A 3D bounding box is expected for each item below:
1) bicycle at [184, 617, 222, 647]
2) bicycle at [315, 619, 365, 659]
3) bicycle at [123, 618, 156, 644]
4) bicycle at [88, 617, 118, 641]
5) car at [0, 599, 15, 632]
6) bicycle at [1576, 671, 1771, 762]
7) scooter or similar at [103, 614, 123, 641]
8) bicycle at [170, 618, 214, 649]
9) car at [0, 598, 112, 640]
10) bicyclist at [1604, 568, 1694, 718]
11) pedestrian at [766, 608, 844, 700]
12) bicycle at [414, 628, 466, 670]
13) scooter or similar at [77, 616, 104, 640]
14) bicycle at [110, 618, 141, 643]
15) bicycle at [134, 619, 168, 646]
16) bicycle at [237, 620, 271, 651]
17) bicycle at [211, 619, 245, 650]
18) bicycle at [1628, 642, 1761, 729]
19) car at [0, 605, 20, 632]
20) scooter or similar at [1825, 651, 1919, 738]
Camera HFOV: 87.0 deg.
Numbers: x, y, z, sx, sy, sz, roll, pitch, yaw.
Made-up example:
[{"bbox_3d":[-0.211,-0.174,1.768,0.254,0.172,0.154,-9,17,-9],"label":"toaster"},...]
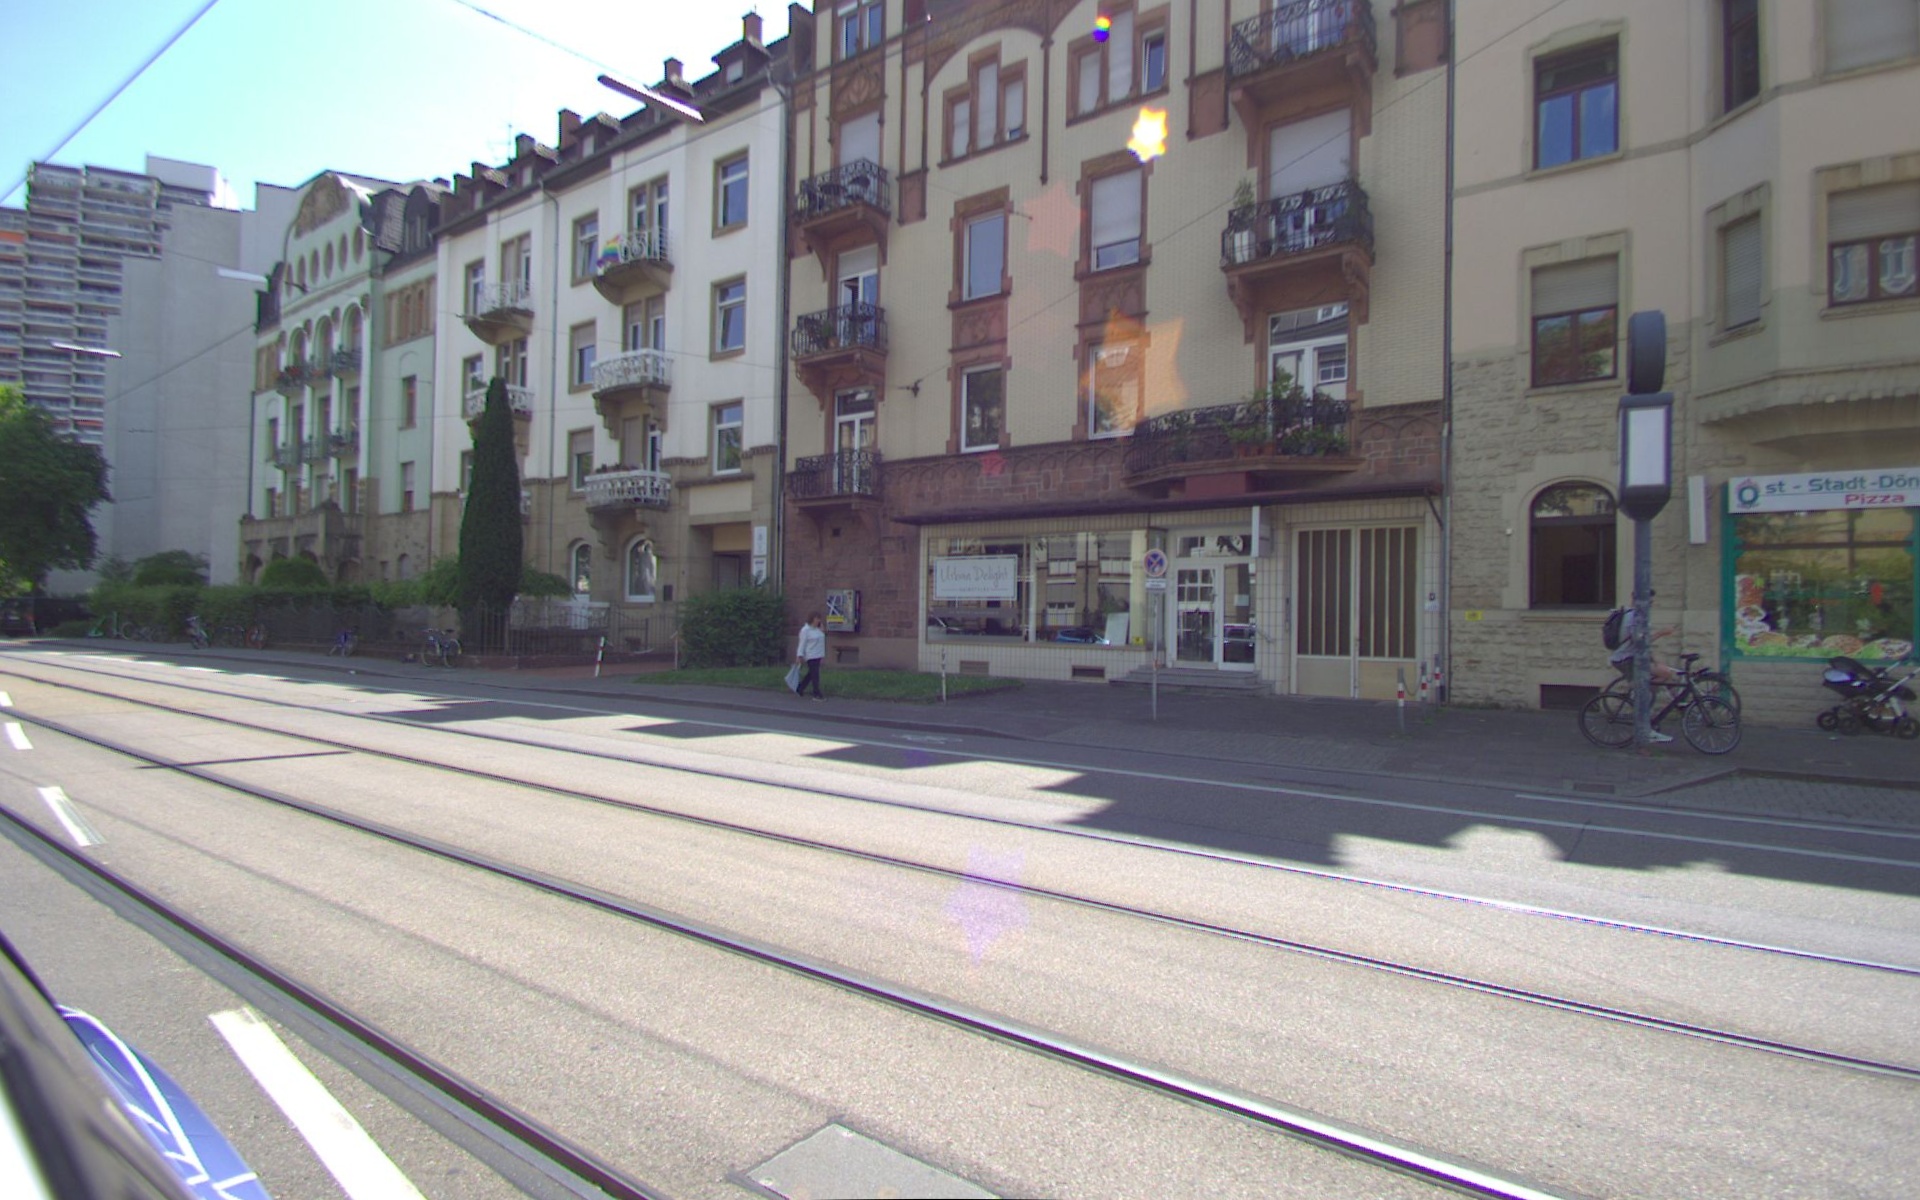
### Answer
[{"bbox_3d":[-27.237,1.143,36.400,1.768,1.040,0.602,-1,2,37],"label":"bicycle"},{"bbox_3d":[-17.846,1.107,29.119,1.768,1.073,0.602,-1,2,37],"label":"bicycle"},{"bbox_3d":[-33.210,1.261,40.959,1.705,0.996,0.602,-1,2,37],"label":"bicycle"},{"bbox_3d":[-37.465,1.262,44.249,1.705,0.996,0.602,-1,2,37],"label":"bicycle"},{"bbox_3d":[-60.522,0.940,62.015,1.578,2.058,4.055,1,-2,-3],"label":"car"},{"bbox_3d":[8.282,1.322,11.816,1.817,0.823,0.746,0,4,36],"label":"bicycle"},{"bbox_3d":[-36.110,1.154,43.120,1.289,1.128,0.402,0,-2,39],"label":"scooter or similar"},{"bbox_3d":[-26.100,1.134,34.413,0.599,1.007,1.780,1,-2,-17],"label":"bicycle"},{"bbox_3d":[-44.879,0.960,50.077,1.935,1.940,4.586,1,-2,0],"label":"car"},{"bbox_3d":[8.071,0.467,11.847,0.829,1.675,0.749,1,2,37],"label":"bicyclist"},{"bbox_3d":[-2.705,0.922,17.716,0.982,1.554,0.893,0,-2,34],"label":"pedestrian"},{"bbox_3d":[-13.128,1.224,25.525,1.838,0.968,0.406,1,2,38],"label":"bicycle"},{"bbox_3d":[-38.823,1.246,45.183,1.215,1.028,0.404,0,-2,22],"label":"scooter or similar"},{"bbox_3d":[-34.765,1.245,42.169,1.705,0.996,0.602,-1,2,37],"label":"bicycle"},{"bbox_3d":[-31.770,1.262,39.730,1.768,0.983,0.602,-1,2,37],"label":"bicycle"},{"bbox_3d":[-23.243,1.155,33.309,1.723,0.973,0.409,0,1,38],"label":"bicycle"},{"bbox_3d":[-24.803,1.167,34.296,1.705,1.007,0.460,0,1,38],"label":"bicycle"},{"bbox_3d":[10.220,1.167,14.125,0.365,1.074,1.469,1,0,-29],"label":"bicycle"},{"bbox_3d":[-57.891,1.079,59.650,1.657,1.587,3.688,2,-2,-5],"label":"car"},{"bbox_3d":[12.011,1.196,13.002,1.192,1.052,0.696,0,0,-3],"label":"scooter or similar"}]
